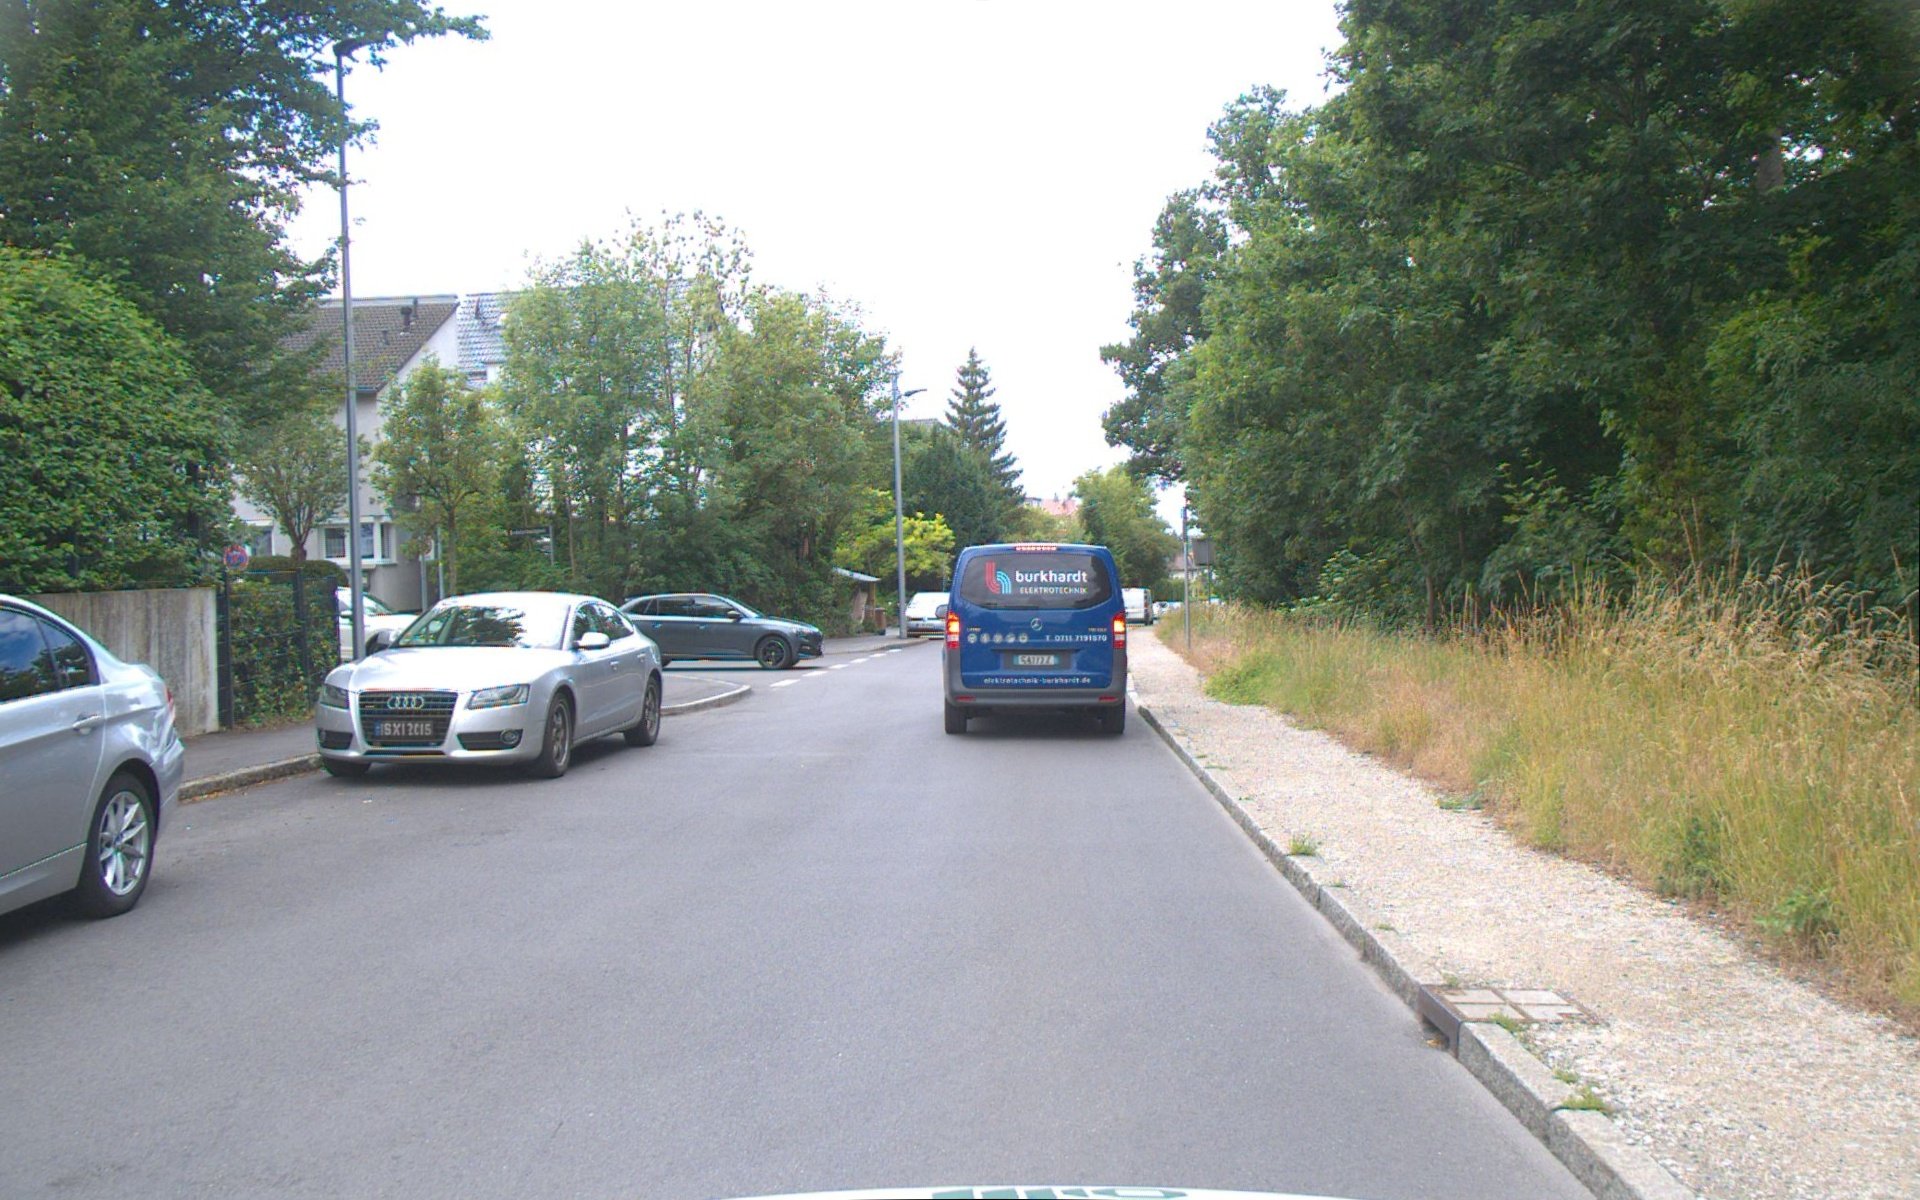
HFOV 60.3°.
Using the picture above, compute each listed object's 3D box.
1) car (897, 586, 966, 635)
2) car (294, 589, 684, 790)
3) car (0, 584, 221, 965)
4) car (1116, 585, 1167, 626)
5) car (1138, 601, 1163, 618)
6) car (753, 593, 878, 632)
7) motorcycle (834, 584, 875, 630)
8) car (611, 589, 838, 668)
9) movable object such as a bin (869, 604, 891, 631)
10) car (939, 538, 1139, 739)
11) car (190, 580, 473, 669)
[{"bbox_3d":[-0.865,0.323,52.527,1.669,1.493,4.078,0,0,6],"label":"car"},{"bbox_3d":[-3.731,0.620,13.990,1.793,1.398,4.447,0,1,3],"label":"car"},{"bbox_3d":[-4.400,0.645,5.792,1.739,1.398,4.340,0,1,-1],"label":"car"},{"bbox_3d":[9.758,0.247,88.463,2.158,2.100,6.140,-1,0,11],"label":"car"},{"bbox_3d":[16.042,0.798,139.026,1.711,1.429,4.003,0,0,12],"label":"car"},{"bbox_3d":[-5.420,0.464,62.290,4.385,1.466,1.880,0,0,9],"label":"car"},{"bbox_3d":[-3.514,0.229,55.231,0.792,1.511,2.898,0,0,8],"label":"motorcycle"},{"bbox_3d":[-4.519,0.537,32.076,4.079,1.472,1.741,0,0,4],"label":"car"},{"bbox_3d":[-2.772,0.603,57.256,0.578,0.925,0.701,0,0,13],"label":"movable object such as a bin"},{"bbox_3d":[0.827,0.342,18.044,1.896,1.913,4.532,0,1,2],"label":"car"},{"bbox_3d":[-12.391,0.475,32.789,4.831,1.699,2.038,0,0,5],"label":"car"}]
